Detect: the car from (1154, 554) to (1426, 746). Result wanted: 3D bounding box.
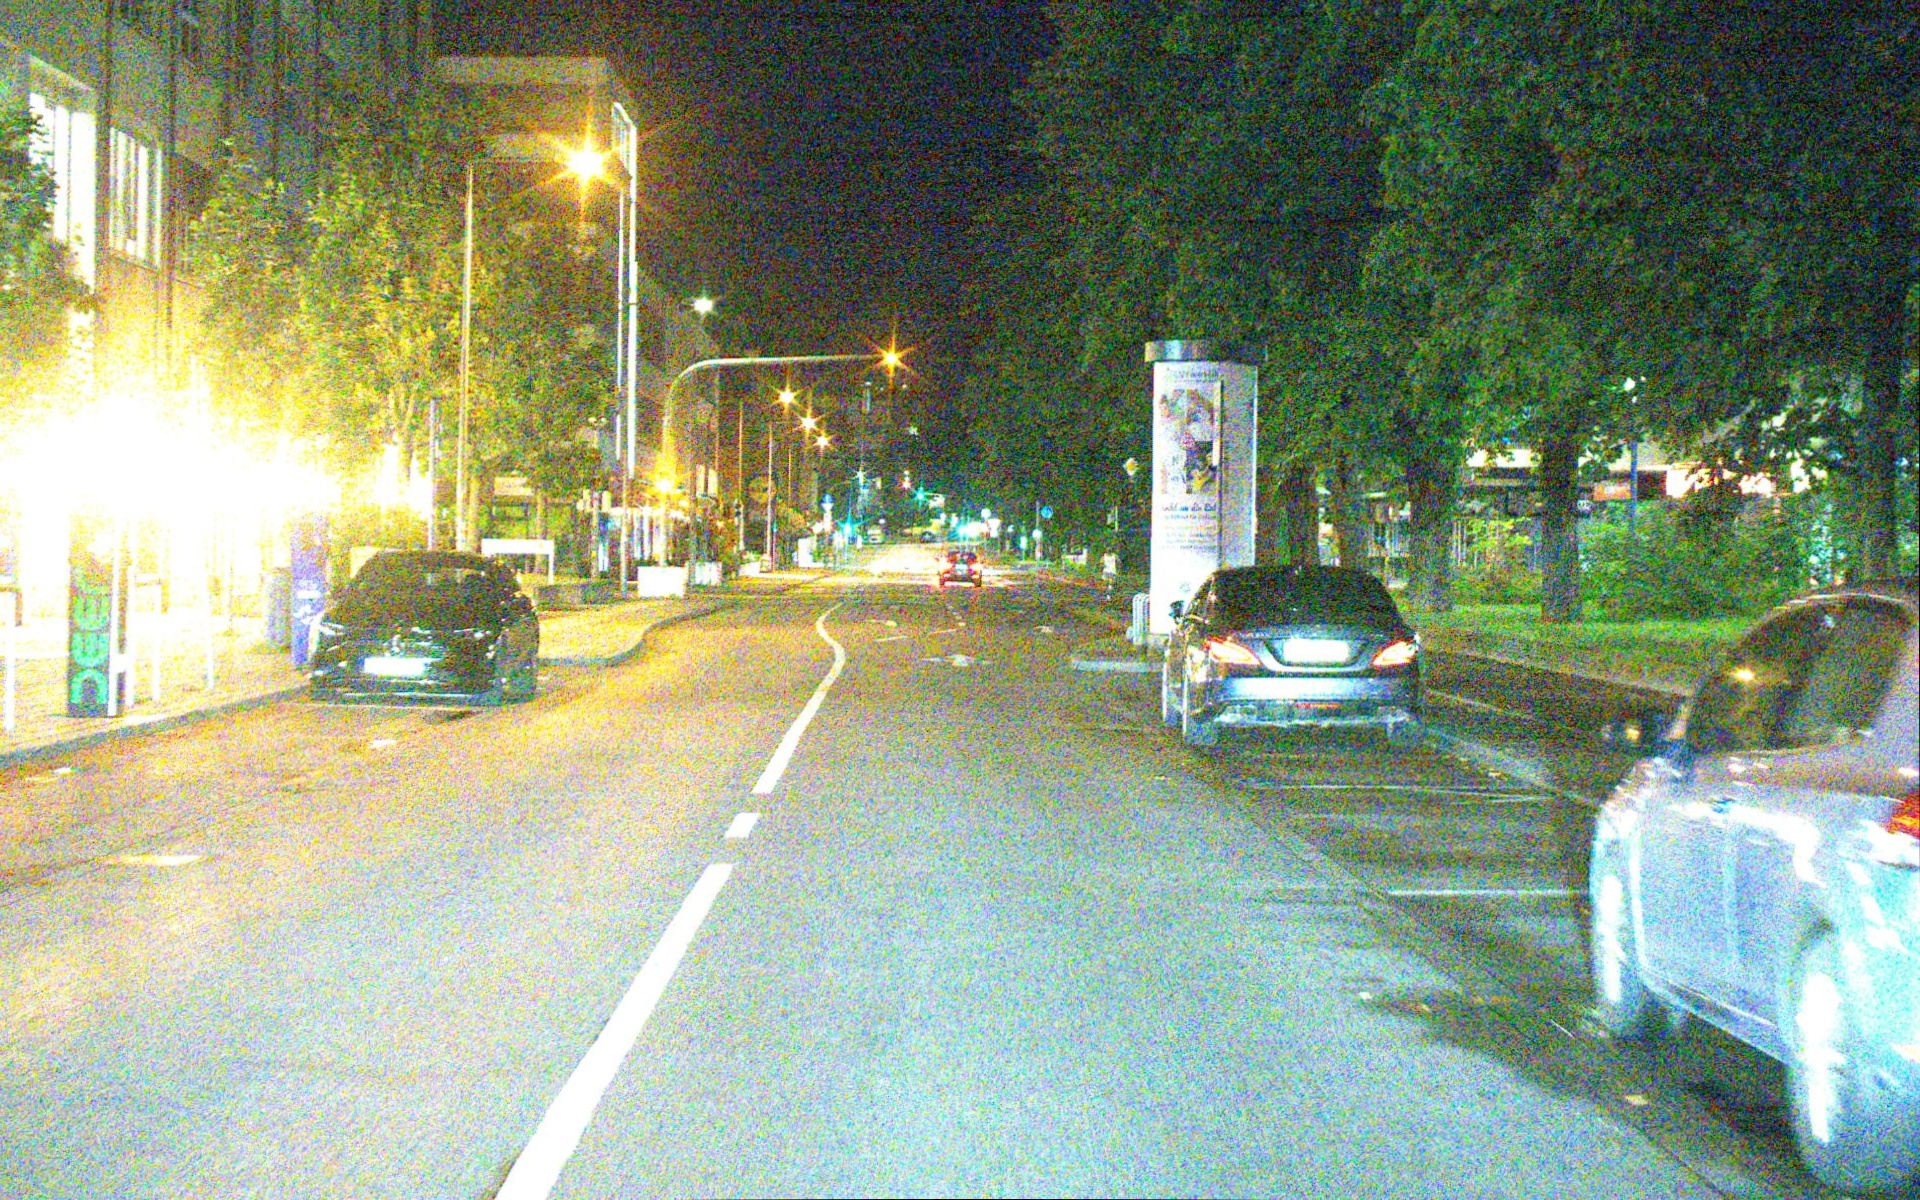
[{"bbox_3d":[2.605,0.345,28.168,1.764,1.409,4.808,0,1,0],"label":"car"}]

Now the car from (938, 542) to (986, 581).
[{"bbox_3d":[0.064,-1.680,148.865,1.993,1.637,4.000,0,1,-1],"label":"car"}]

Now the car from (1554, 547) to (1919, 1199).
[{"bbox_3d":[2.835,0.624,9.463,1.689,1.531,4.016,0,1,0],"label":"car"}]

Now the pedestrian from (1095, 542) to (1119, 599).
[{"bbox_3d":[4.687,-0.951,109.738,0.703,1.812,1.082,0,1,0],"label":"pedestrian"}]

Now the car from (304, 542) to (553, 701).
[{"bbox_3d":[-5.185,0.161,34.066,1.741,1.408,4.496,2,1,0],"label":"car"}]
